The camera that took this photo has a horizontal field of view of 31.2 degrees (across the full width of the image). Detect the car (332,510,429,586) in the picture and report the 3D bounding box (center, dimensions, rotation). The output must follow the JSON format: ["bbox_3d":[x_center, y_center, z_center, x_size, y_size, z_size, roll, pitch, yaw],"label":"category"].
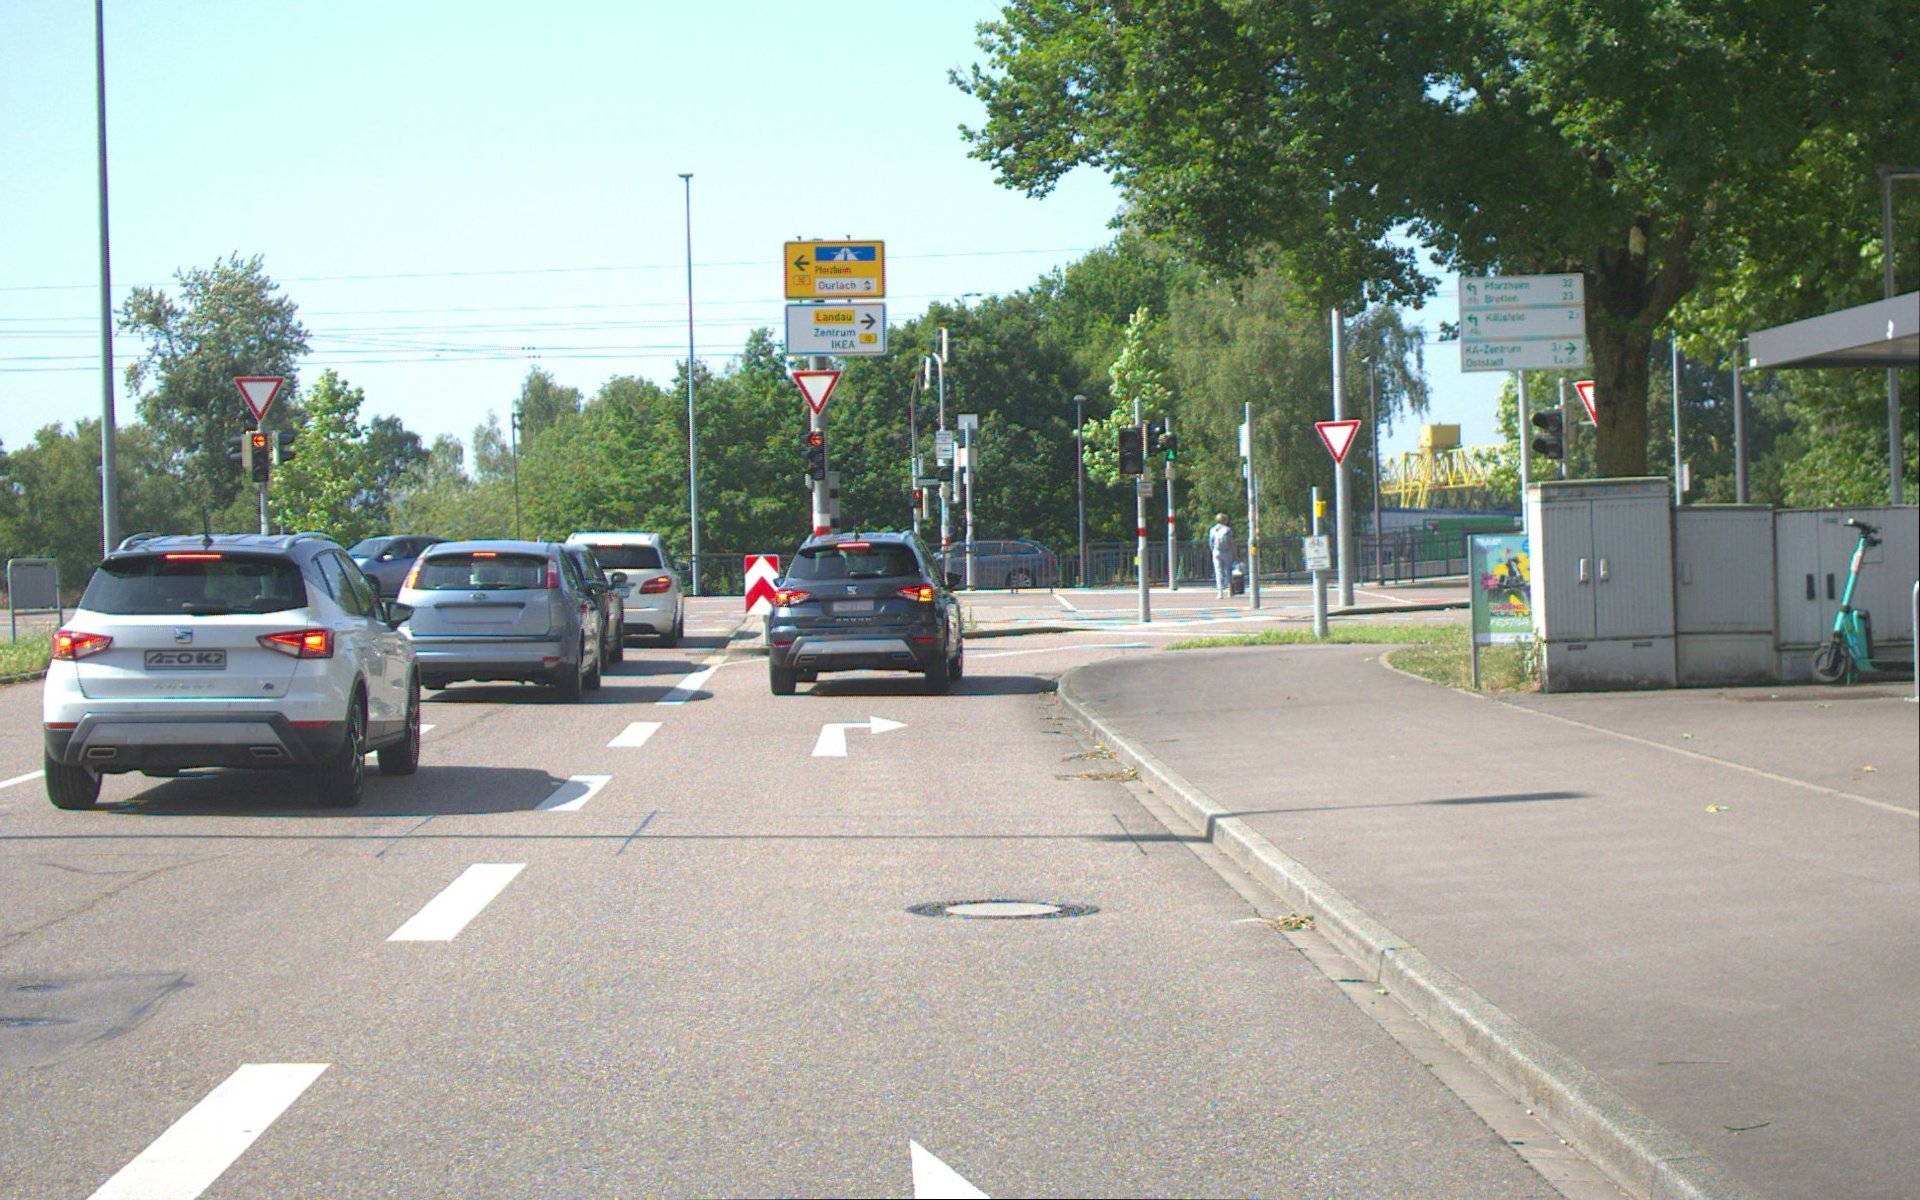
[{"bbox_3d":[-13.347,-1.224,79.360,1.627,1.619,3.917,-1,2,-1],"label":"car"}]

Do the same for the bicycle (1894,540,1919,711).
[{"bbox_3d":[7.006,0.134,22.277,1.758,1.092,0.452,-2,1,-1],"label":"bicycle"}]

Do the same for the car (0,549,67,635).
[{"bbox_3d":[-11.797,-0.100,41.949,1.117,1.000,2.492,-2,1,0],"label":"car"}]

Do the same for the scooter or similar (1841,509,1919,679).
[{"bbox_3d":[7.151,-0.052,26.164,0.776,1.261,0.284,-2,1,-4],"label":"scooter or similar"}]

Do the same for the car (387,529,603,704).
[{"bbox_3d":[-4.378,0.108,32.864,1.706,1.568,4.175,0,1,-3],"label":"car"}]

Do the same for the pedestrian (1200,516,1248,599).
[{"bbox_3d":[4.979,-0.798,64.695,0.773,1.505,1.007,-1,2,10],"label":"pedestrian"}]

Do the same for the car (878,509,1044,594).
[{"bbox_3d":[0.005,-1.213,86.793,3.986,2.007,2.000,-1,0,-5],"label":"car"}]

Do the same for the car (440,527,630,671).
[{"bbox_3d":[-4.803,-0.055,39.363,1.737,1.506,4.201,-2,1,-2],"label":"car"}]

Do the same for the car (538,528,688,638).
[{"bbox_3d":[-4.772,-0.272,47.759,1.741,1.443,4.389,-1,1,-2],"label":"car"}]

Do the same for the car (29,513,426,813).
[{"bbox_3d":[-4.224,0.289,20.374,1.631,1.493,3.871,-1,3,-2],"label":"car"}]

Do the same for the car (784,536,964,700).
[{"bbox_3d":[-0.861,0.139,33.812,1.669,1.518,3.377,-1,1,-2],"label":"car"}]
